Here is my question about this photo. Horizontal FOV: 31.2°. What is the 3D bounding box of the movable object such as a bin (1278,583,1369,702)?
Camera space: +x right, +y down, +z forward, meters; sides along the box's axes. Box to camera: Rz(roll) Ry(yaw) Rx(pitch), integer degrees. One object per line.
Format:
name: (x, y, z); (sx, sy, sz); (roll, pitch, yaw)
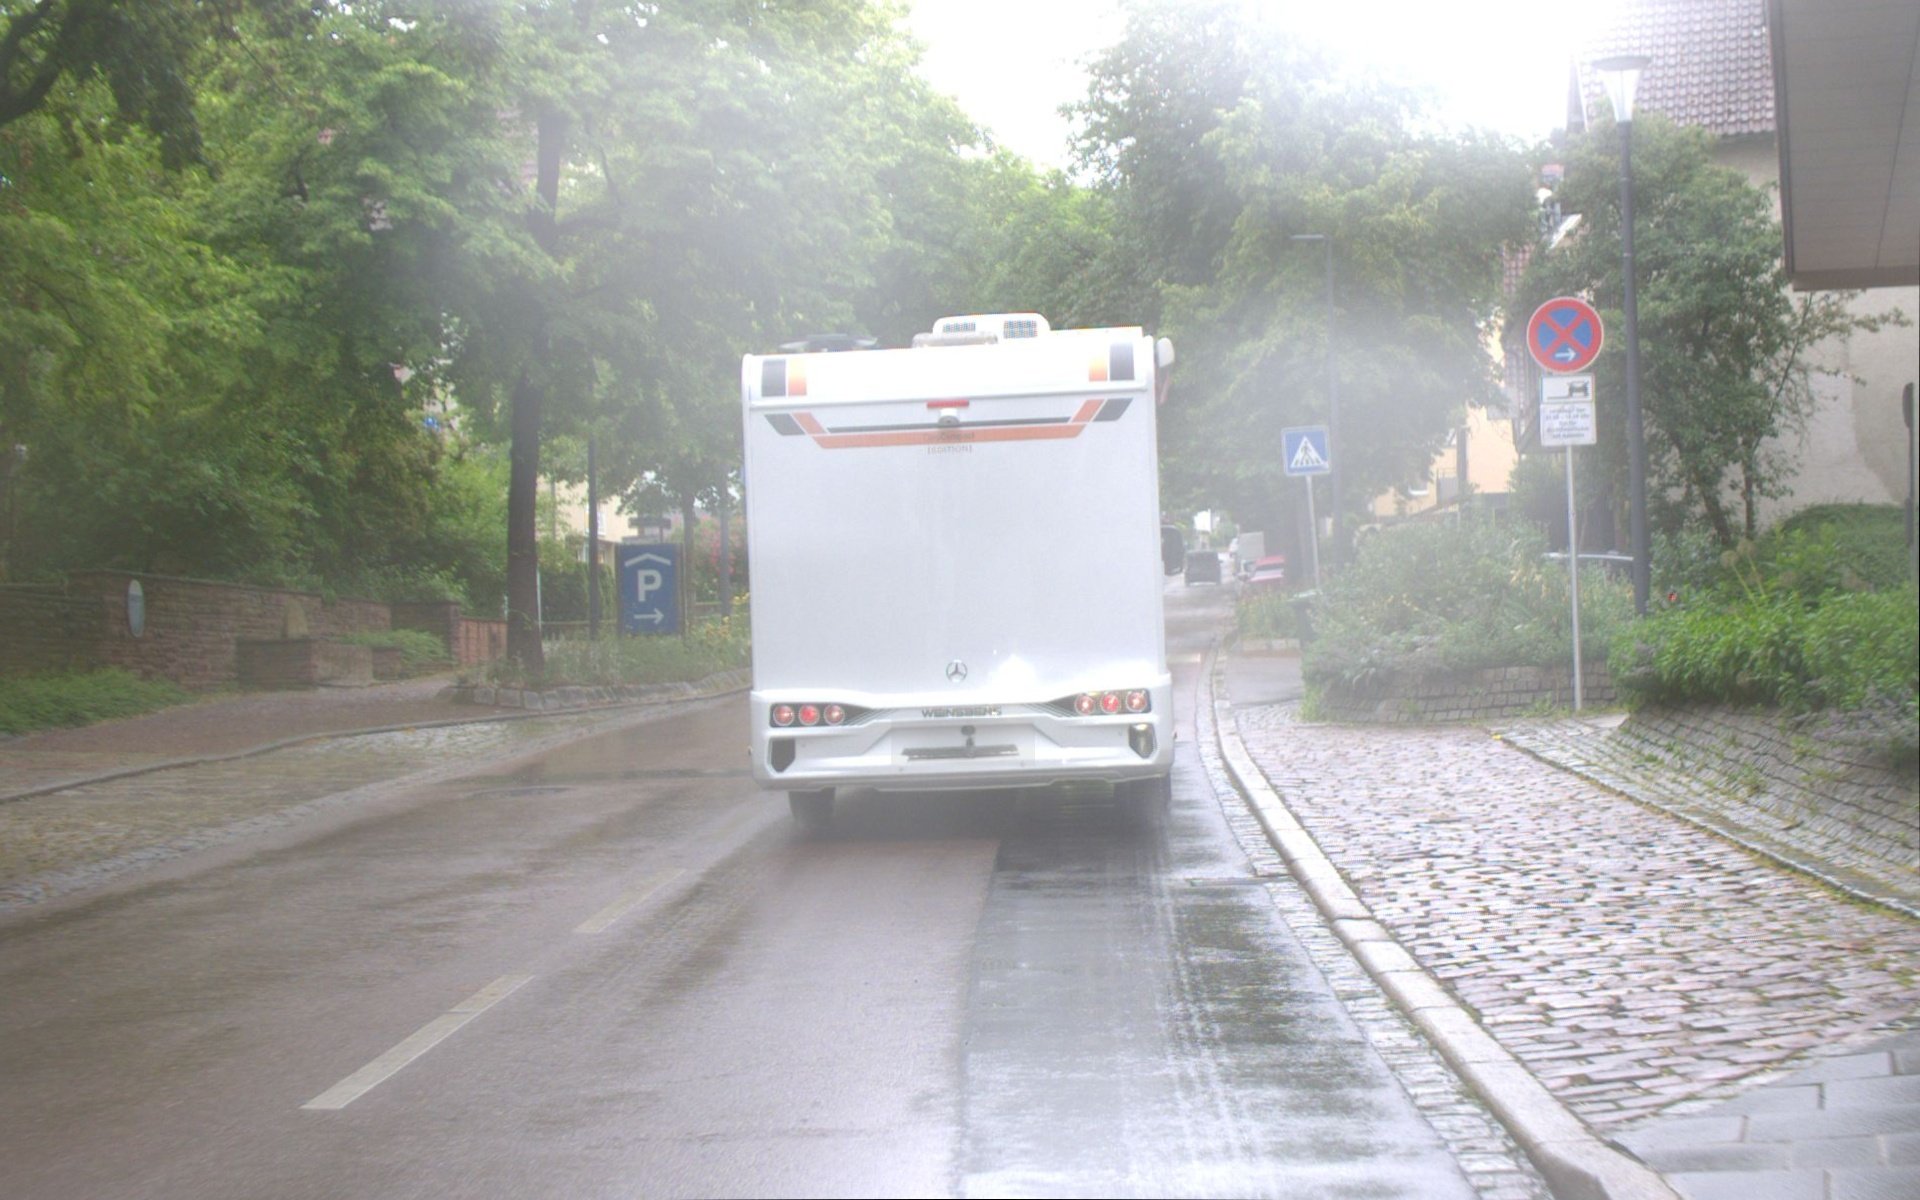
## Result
movable object such as a bin: (3.526, 0.409, 33.332); (0.704, 1.120, 0.571); (-3, -1, 21)

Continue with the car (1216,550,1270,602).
car: (9.146, -0.754, 110.949); (1.649, 1.536, 3.530); (-3, -1, 5)

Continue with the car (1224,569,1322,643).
car: (6.520, 0.111, 71.353); (1.856, 1.467, 4.364); (0, 1, 7)

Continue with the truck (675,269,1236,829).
truck: (0.191, -0.214, 20.883); (2.806, 2.787, 6.105); (-3, -1, 4)

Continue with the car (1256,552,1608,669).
car: (5.917, 0.125, 43.520); (4.283, 1.412, 1.840); (0, 0, 4)
